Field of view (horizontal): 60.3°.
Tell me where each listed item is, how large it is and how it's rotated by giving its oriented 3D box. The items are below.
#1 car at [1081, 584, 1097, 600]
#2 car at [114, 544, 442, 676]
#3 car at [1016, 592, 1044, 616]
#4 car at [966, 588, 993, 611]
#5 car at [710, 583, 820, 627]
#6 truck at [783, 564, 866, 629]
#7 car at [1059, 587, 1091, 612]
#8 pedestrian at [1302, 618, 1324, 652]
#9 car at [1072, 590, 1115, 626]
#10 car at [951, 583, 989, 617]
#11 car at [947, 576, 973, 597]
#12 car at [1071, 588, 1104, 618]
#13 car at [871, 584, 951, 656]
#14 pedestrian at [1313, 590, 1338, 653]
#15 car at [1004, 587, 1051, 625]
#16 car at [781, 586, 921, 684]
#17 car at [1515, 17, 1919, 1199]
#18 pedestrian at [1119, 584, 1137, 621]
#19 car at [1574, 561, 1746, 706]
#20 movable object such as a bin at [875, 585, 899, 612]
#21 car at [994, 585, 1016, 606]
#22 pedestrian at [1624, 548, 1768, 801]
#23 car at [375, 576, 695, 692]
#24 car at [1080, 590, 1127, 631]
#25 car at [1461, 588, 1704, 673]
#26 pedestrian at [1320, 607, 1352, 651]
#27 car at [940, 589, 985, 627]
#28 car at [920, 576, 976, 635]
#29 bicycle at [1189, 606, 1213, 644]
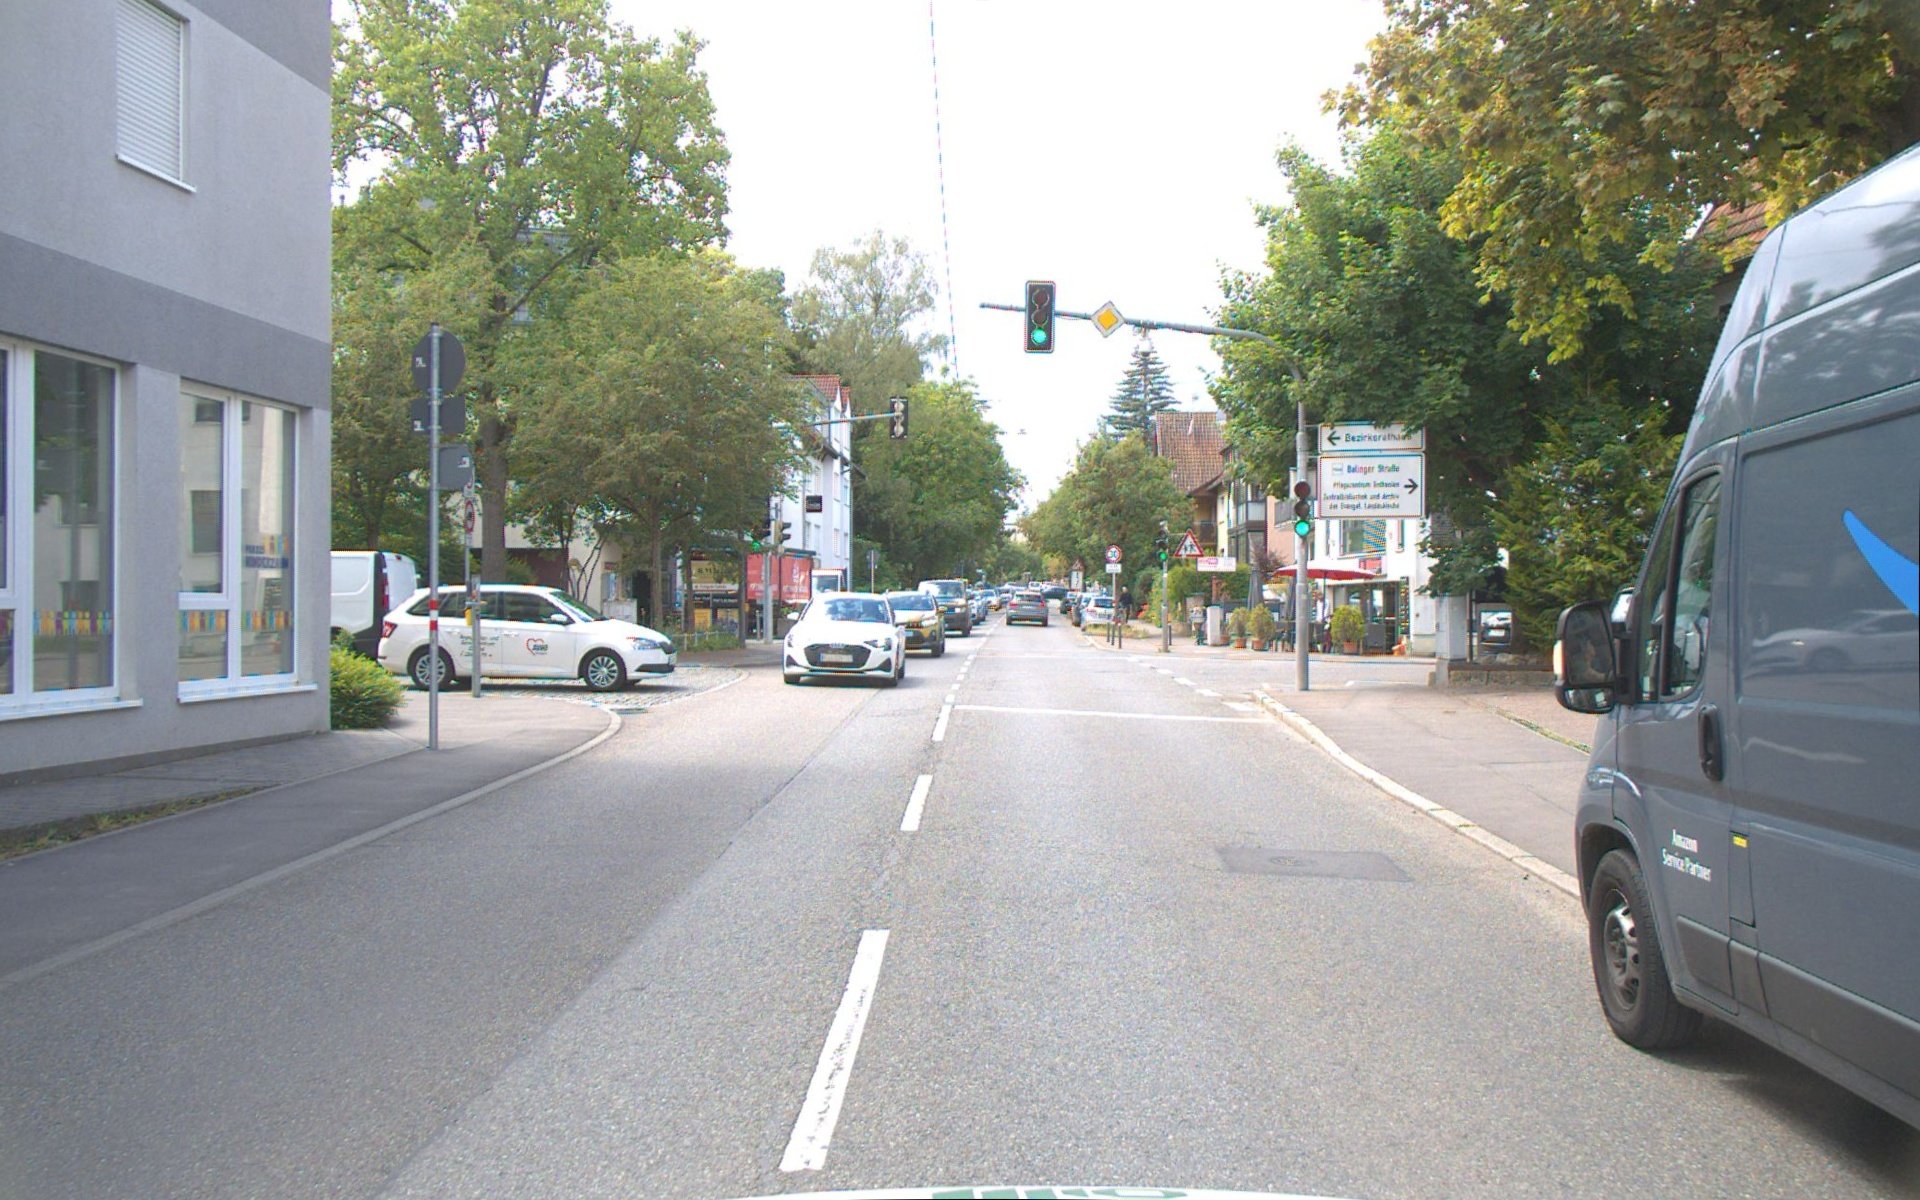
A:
[{"bbox_3d":[16.045,-0.992,206.041,1.951,2.049,4.002,0,0,4],"label":"car"},{"bbox_3d":[-11.178,0.149,27.371,4.526,2.044,2.095,1,0,-1],"label":"car"},{"bbox_3d":[4.663,0.245,109.792,1.778,1.527,4.269,1,1,4],"label":"car"},{"bbox_3d":[1.356,-0.024,113.110,1.723,1.464,3.972,-2,1,2],"label":"car"},{"bbox_3d":[-6.758,0.157,57.645,3.618,1.450,1.804,1,0,-2],"label":"car"},{"bbox_3d":[-5.253,-0.106,65.083,2.177,2.421,6.329,0,0,5],"label":"truck"},{"bbox_3d":[7.372,-0.059,106.370,1.764,1.470,4.888,2,1,1],"label":"car"},{"bbox_3d":[10.098,0.998,47.298,0.412,0.954,0.495,1,0,-19],"label":"pedestrian"},{"bbox_3d":[6.089,0.341,75.893,1.698,1.453,4.884,3,1,2],"label":"car"},{"bbox_3d":[0.505,-0.012,81.197,1.692,1.529,4.377,-2,1,2],"label":"car"},{"bbox_3d":[0.028,-1.331,161.403,2.100,2.015,4.933,0,0,5],"label":"car"},{"bbox_3d":[6.709,0.135,87.421,1.588,1.534,3.780,0,1,2],"label":"car"},{"bbox_3d":[-1.112,0.431,39.366,1.692,1.565,4.001,1,1,1],"label":"car"},{"bbox_3d":[10.525,0.612,47.679,0.421,1.793,0.672,1,0,-18],"label":"pedestrian"},{"bbox_3d":[3.036,0.241,73.537,1.935,1.539,4.269,3,1,3],"label":"car"},{"bbox_3d":[-1.676,0.506,26.764,1.835,1.449,4.116,1,0,2],"label":"car"},{"bbox_3d":[3.196,0.119,3.894,2.102,2.819,6.253,0,0,4],"label":"car"},{"bbox_3d":[8.060,0.111,79.370,0.862,1.742,0.843,0,0,3],"label":"pedestrian"},{"bbox_3d":[8.947,0.362,20.965,1.717,1.543,4.076,-4,0,26],"label":"car"},{"bbox_3d":[-4.033,-0.072,91.435,1.303,1.452,1.213,0,0,-4],"label":"movable object such as a bin"},{"bbox_3d":[3.870,-0.429,141.073,1.749,1.676,4.492,-2,1,3],"label":"car"},{"bbox_3d":[5.548,0.532,12.455,0.730,1.813,0.893,0,0,45],"label":"pedestrian"},{"bbox_3d":[-6.077,0.458,23.953,4.124,1.540,1.823,1,1,2],"label":"car"},{"bbox_3d":[5.825,0.394,67.567,1.665,1.506,4.874,2,1,2],"label":"car"},{"bbox_3d":[11.822,0.545,31.474,4.101,1.440,1.773,-1,2,-15],"label":"car"},{"bbox_3d":[9.712,0.751,42.750,0.558,1.108,0.630,1,0,-23],"label":"pedestrian"},{"bbox_3d":[0.141,0.321,74.122,1.768,1.598,4.160,-2,0,2],"label":"car"},{"bbox_3d":[-0.363,0.158,57.288,1.838,1.946,4.752,1,0,1],"label":"car"},{"bbox_3d":[7.549,0.769,51.864,0.705,1.170,2.215,0,0,8],"label":"bicycle"}]
